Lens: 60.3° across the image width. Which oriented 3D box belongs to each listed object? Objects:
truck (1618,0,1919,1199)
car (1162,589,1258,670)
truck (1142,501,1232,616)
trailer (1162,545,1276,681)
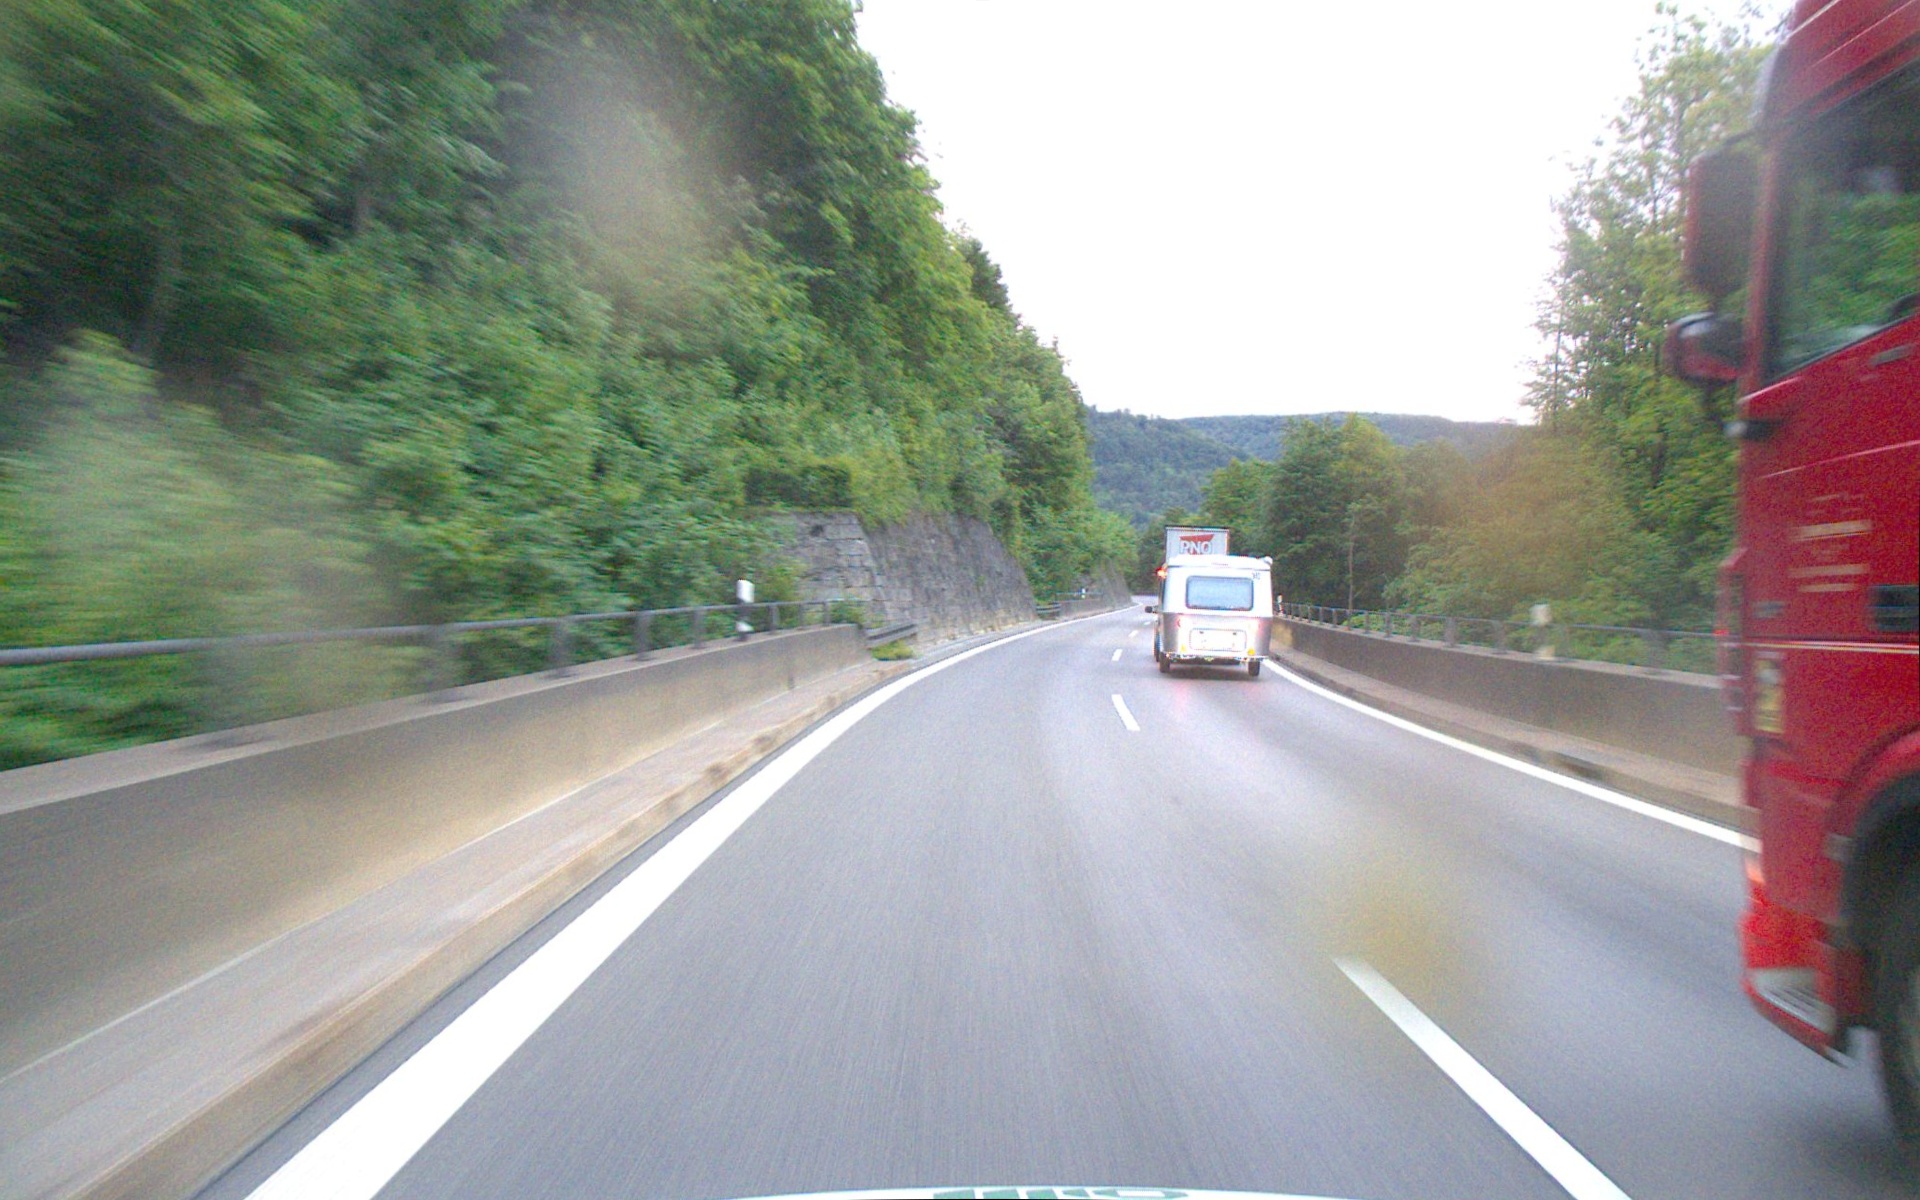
[{"bbox_3d":[3.819,-0.588,2.381,3.007,4.217,6.444,0,0,-2],"label":"truck"},{"bbox_3d":[5.689,0.627,37.868,1.951,1.642,4.868,3,0,8],"label":"car"},{"bbox_3d":[9.869,-1.612,72.133,3.225,4.245,16.515,-3,0,8],"label":"truck"},{"bbox_3d":[5.087,0.218,32.868,2.011,2.416,5.943,1,0,8],"label":"trailer"}]
